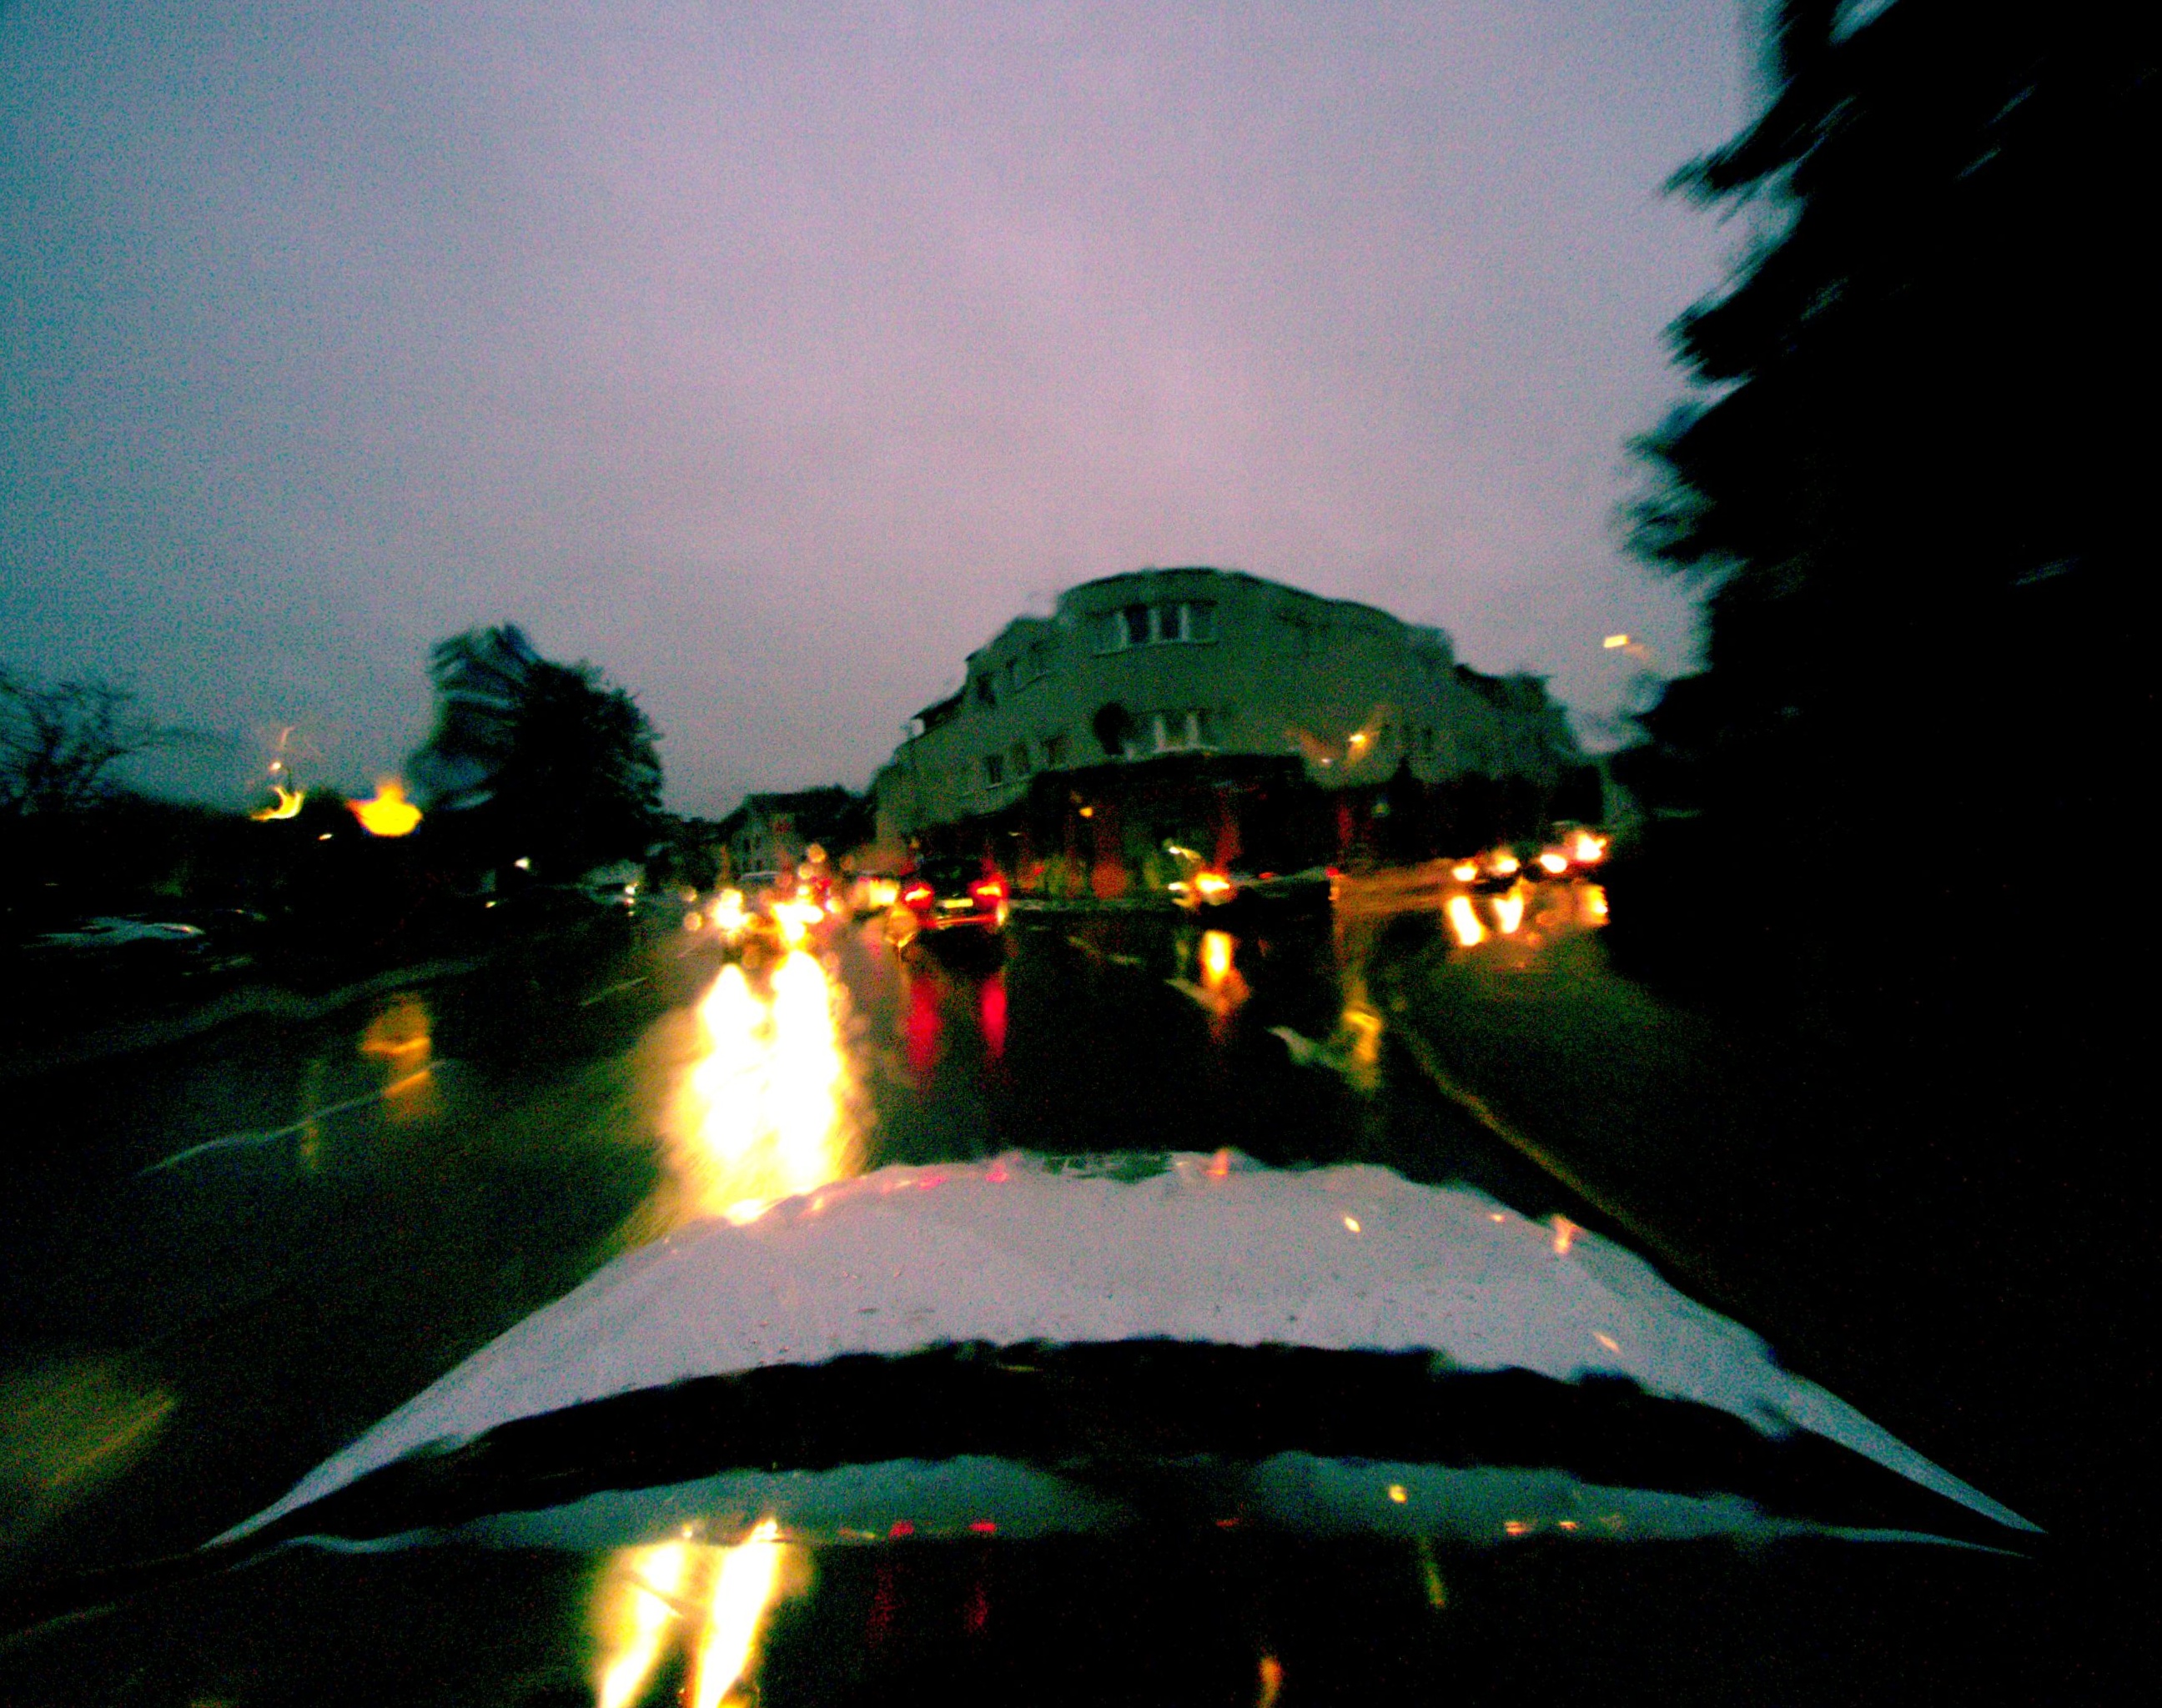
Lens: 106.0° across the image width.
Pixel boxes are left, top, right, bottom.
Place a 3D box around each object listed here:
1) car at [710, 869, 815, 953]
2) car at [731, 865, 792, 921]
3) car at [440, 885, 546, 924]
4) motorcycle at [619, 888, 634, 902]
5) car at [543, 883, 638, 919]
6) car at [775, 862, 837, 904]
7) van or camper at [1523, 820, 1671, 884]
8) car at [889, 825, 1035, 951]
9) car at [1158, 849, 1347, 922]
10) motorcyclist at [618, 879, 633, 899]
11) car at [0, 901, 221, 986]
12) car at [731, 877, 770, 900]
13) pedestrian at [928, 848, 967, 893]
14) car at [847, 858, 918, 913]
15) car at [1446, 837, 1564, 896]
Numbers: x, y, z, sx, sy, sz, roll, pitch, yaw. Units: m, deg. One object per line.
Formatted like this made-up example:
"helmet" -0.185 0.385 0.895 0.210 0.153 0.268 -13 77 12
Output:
"car" -6.696 1.120 17.476 1.667 1.486 3.977 -4 0 -16
"car" -11.336 1.311 28.944 1.779 1.723 4.389 -4 0 -22
"car" -32.122 2.724 44.669 4.434 1.671 1.950 -4 1 -29
"motorcycle" -33.845 3.047 60.593 0.871 1.024 2.088 -3 -1 -32
"car" -26.111 2.492 43.383 4.256 1.699 1.880 -1 -2 -33
"car" -14.903 1.567 43.975 2.323 1.938 4.973 -5 0 -27
"van or camper" 21.330 -0.206 33.360 9.236 2.332 2.426 -2 1 -40
"car" -2.551 0.594 16.241 2.312 1.938 4.995 -5 0 -13
"car" 4.027 0.663 18.916 4.198 1.441 1.780 -2 0 -31
"motorcyclist" -33.867 2.601 60.603 0.871 1.485 0.899 -3 -1 -32
"car" -25.736 2.286 20.814 4.809 1.711 2.010 -4 0 -37
"car" -21.542 2.217 52.986 1.854 1.331 3.900 -5 1 -29
"pedestrian" -6.045 0.733 36.854 1.262 1.865 1.291 -6 1 -27
"car" -6.926 1.036 28.166 1.864 1.647 3.972 -3 0 -20
"car" 13.944 0.397 26.718 4.153 1.788 2.023 -1 -2 -42
